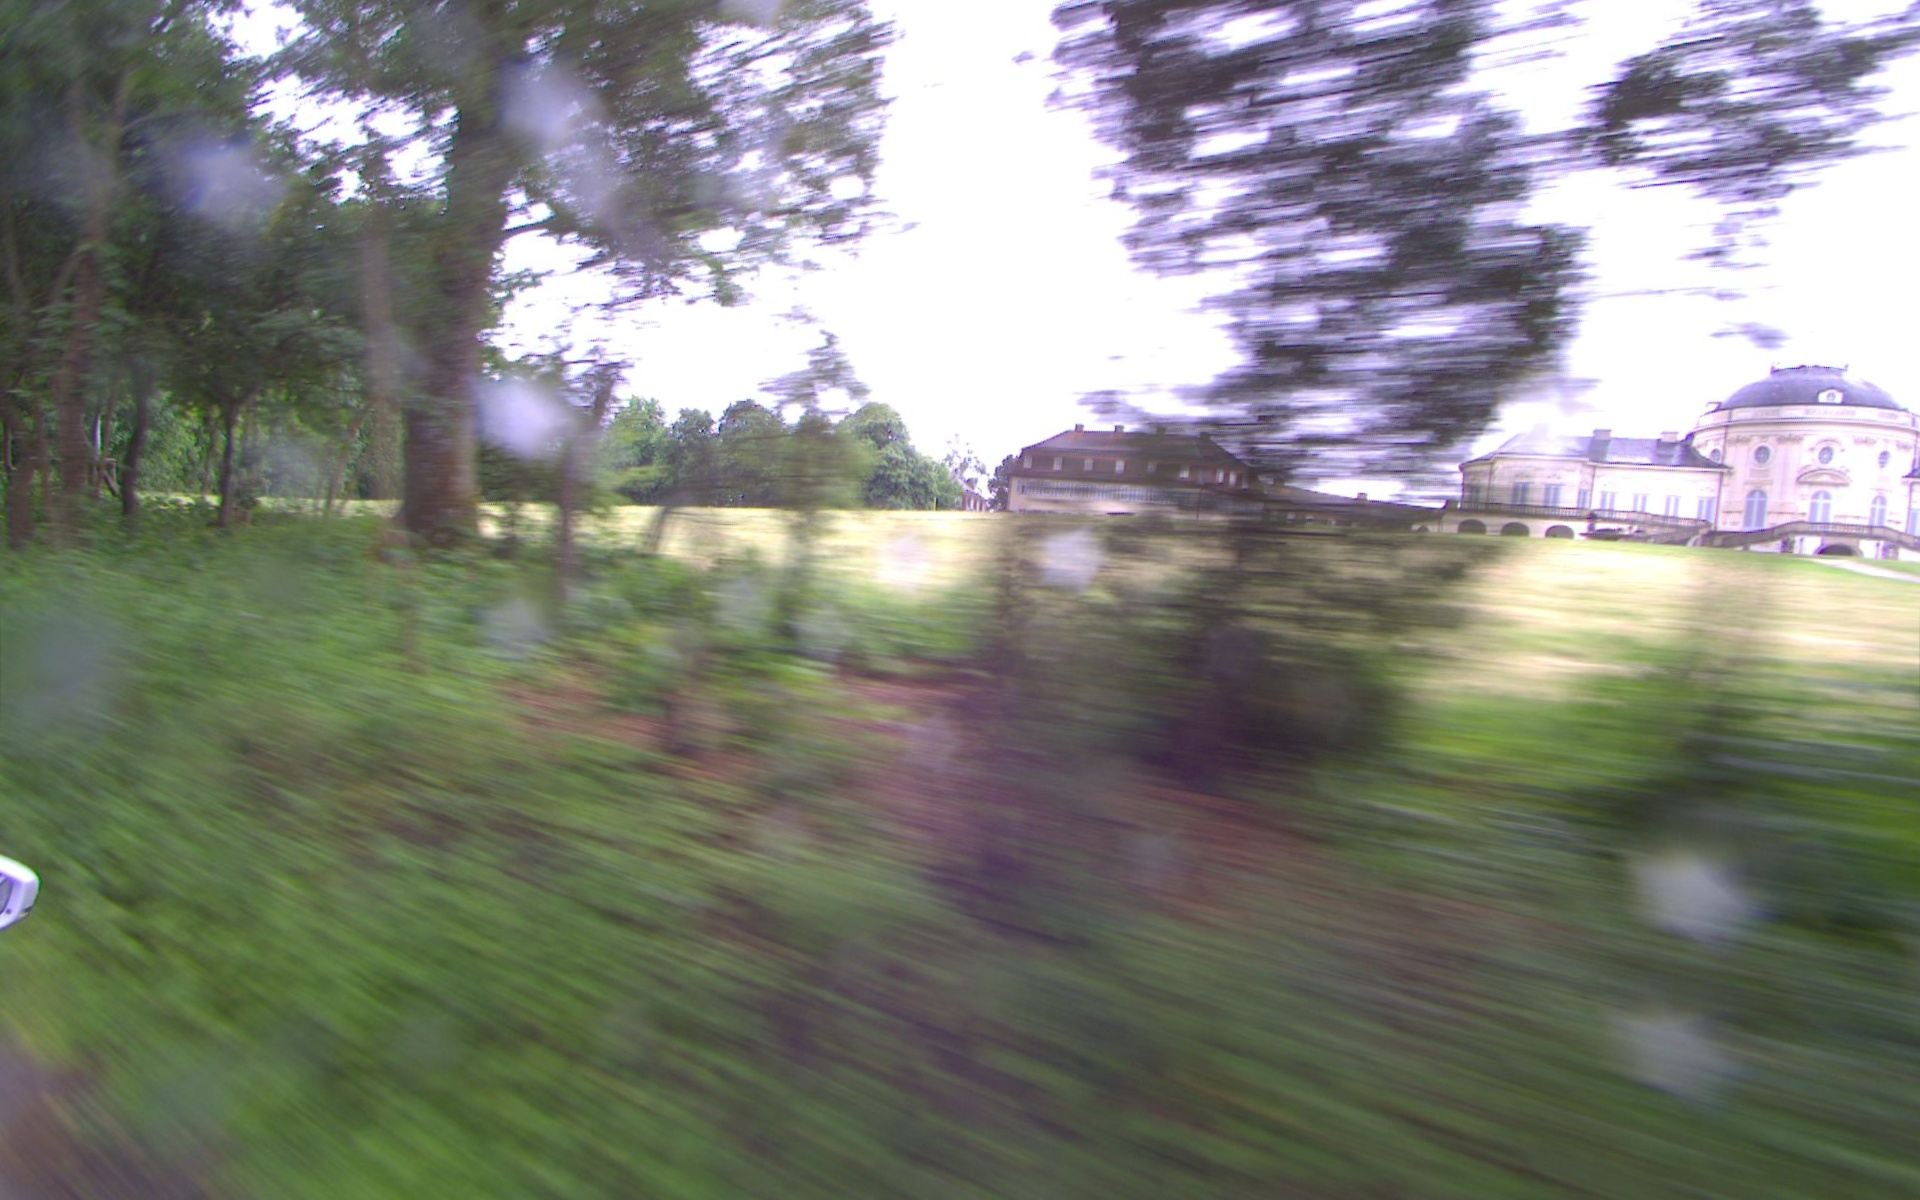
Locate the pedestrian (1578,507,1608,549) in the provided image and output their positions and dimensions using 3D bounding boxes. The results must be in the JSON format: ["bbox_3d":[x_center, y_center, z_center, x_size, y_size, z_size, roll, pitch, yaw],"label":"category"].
[{"bbox_3d":[28.562,-3.248,45.377,0.792,1.758,0.924,10,3,42],"label":"pedestrian"}]
